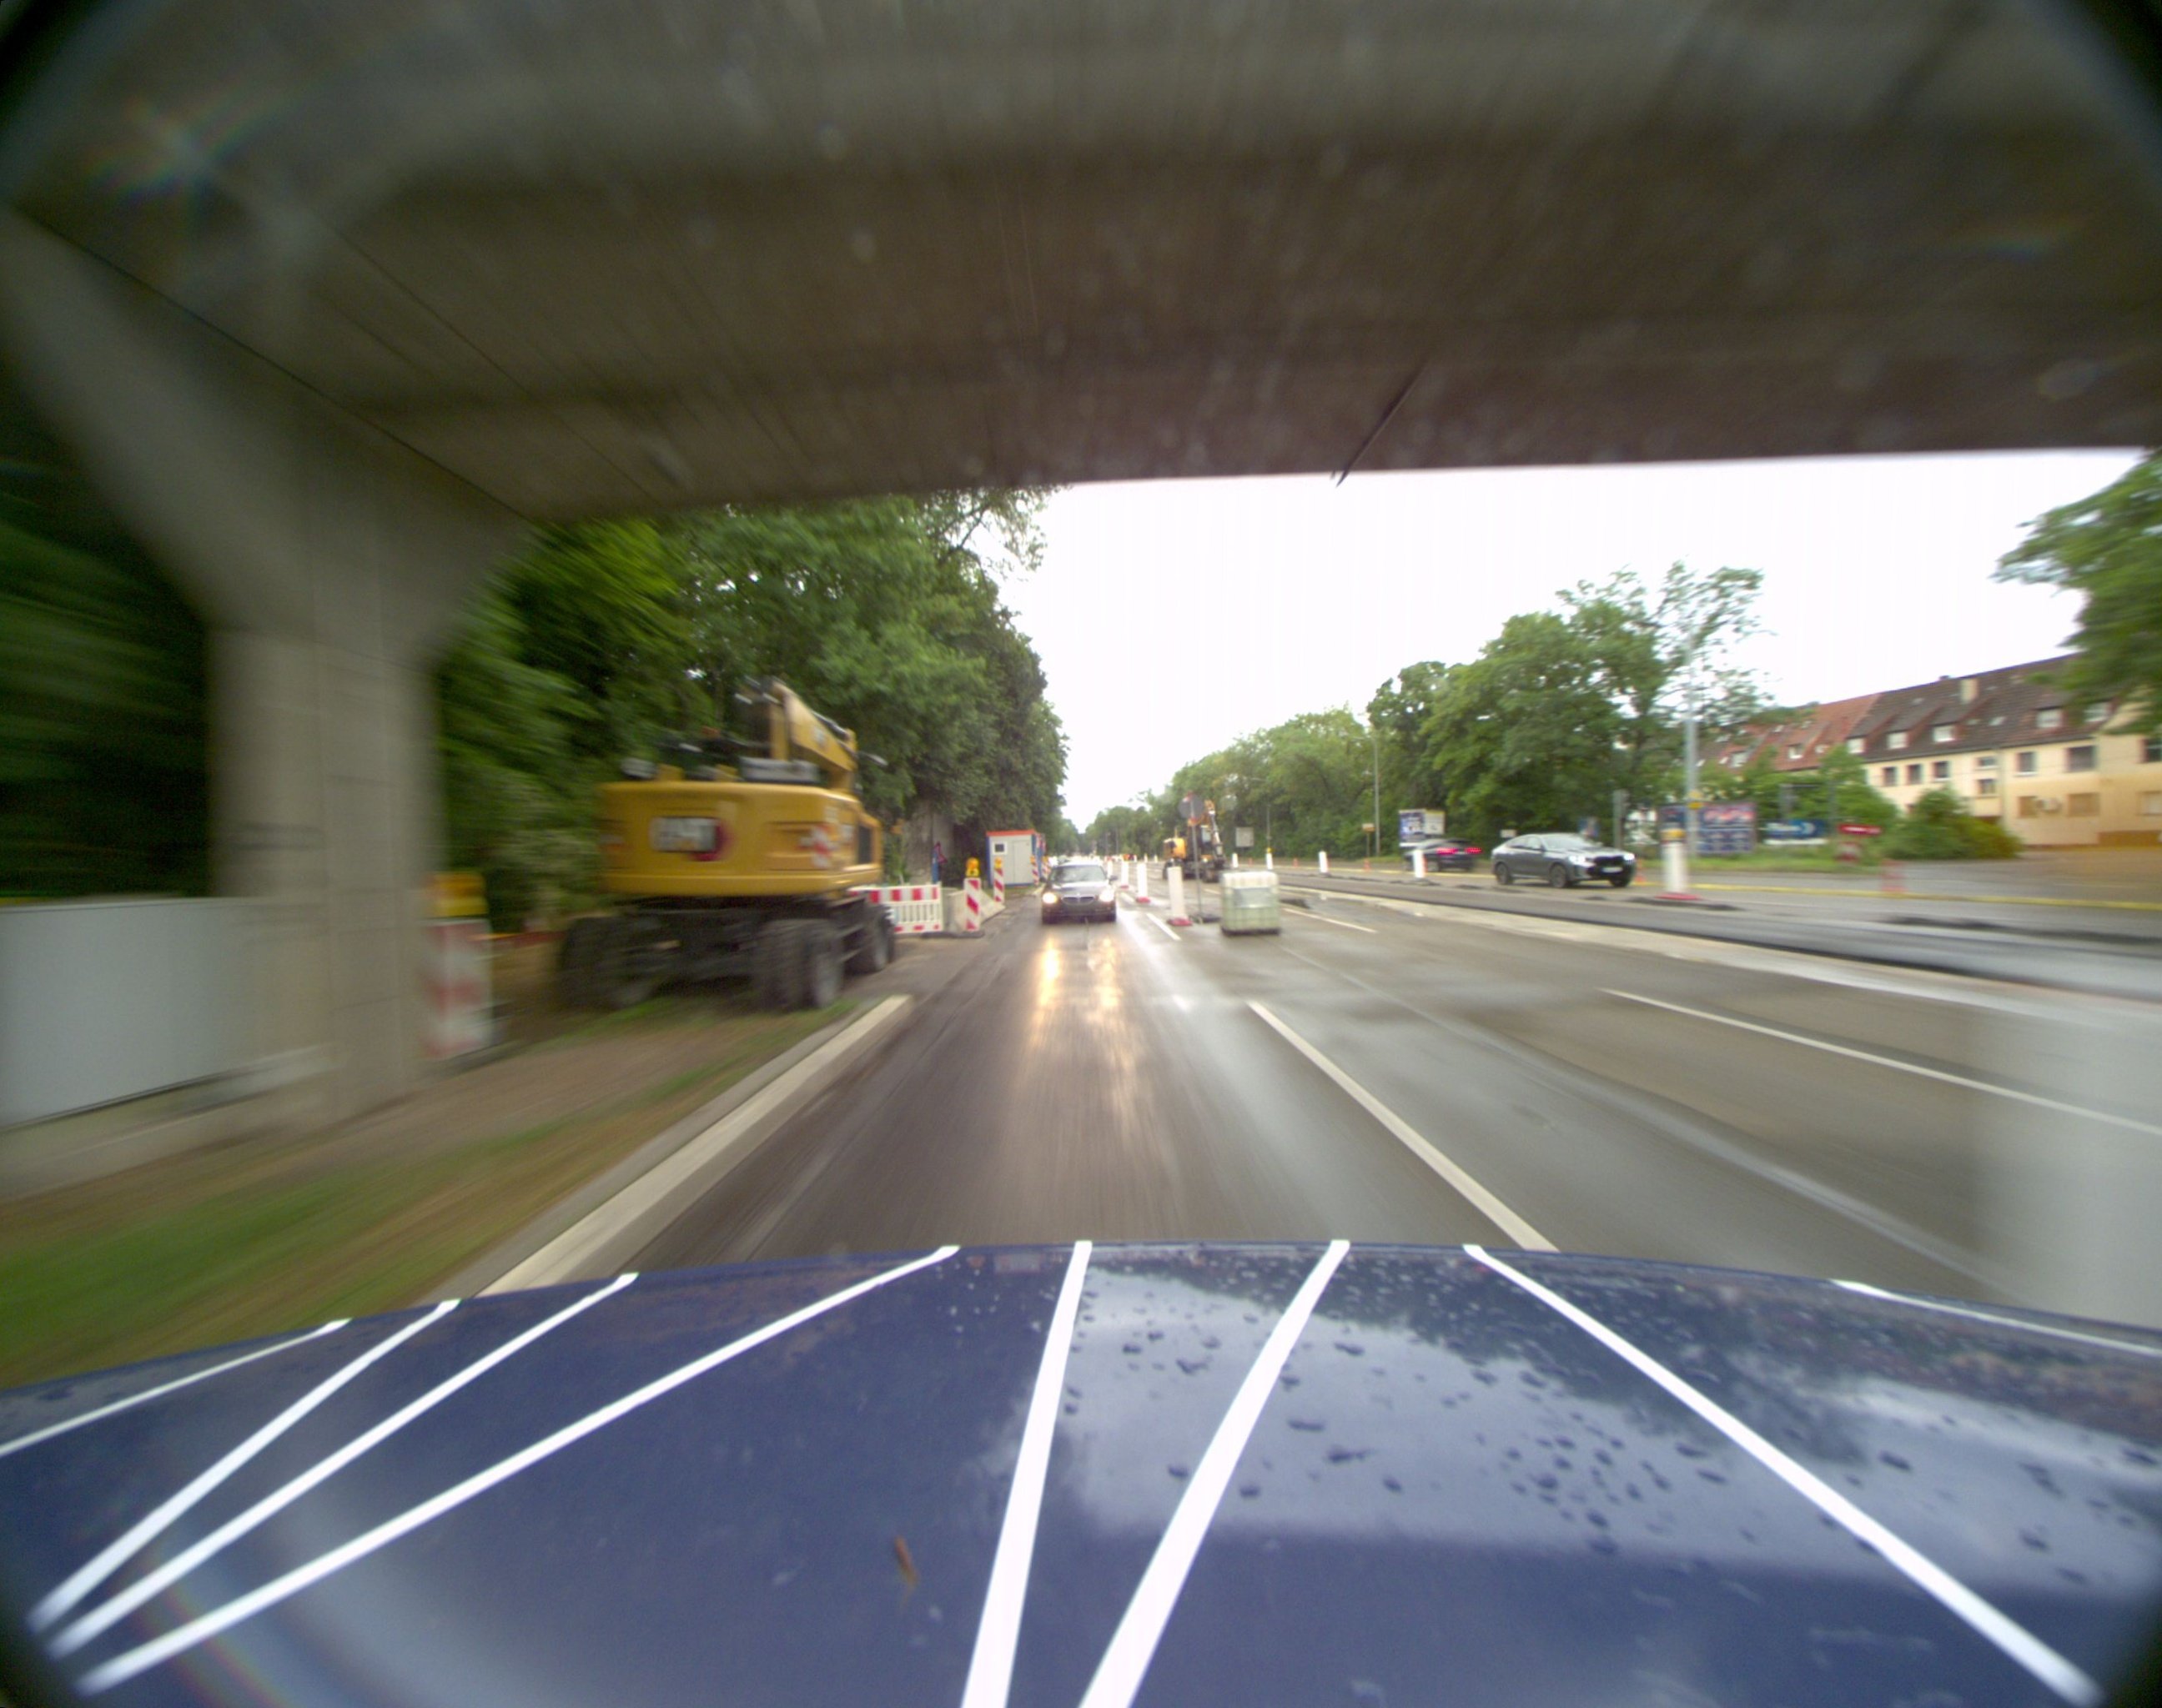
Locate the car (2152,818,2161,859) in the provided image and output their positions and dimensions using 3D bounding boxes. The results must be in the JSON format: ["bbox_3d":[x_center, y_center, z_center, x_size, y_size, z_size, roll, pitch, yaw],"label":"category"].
[{"bbox_3d":[49.108,-0.720,32.110,2.003,1.740,4.214,-3,1,-28],"label":"car"}]

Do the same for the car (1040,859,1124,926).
[{"bbox_3d":[-0.011,0.890,19.280,1.838,1.397,3.999,-2,1,-1],"label":"car"}]

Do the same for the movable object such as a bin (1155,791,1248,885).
[{"bbox_3d":[6.437,-0.848,42.444,3.526,4.495,10.068,-2,1,1],"label":"movable object such as a bin"}]

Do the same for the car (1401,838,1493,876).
[{"bbox_3d":[18.586,0.105,38.889,2.221,1.729,5.055,-2,1,0],"label":"car"}]

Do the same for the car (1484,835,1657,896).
[{"bbox_3d":[14.902,0.288,23.587,2.082,1.604,5.055,-2,1,0],"label":"car"}]

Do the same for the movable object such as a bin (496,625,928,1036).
[{"bbox_3d":[-4.219,-0.261,10.518,2.890,3.917,6.104,-2,1,-1],"label":"movable object such as a bin"}]

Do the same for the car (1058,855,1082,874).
[{"bbox_3d":[-1.003,0.937,70.152,1.998,1.650,4.229,-2,1,0],"label":"car"}]
